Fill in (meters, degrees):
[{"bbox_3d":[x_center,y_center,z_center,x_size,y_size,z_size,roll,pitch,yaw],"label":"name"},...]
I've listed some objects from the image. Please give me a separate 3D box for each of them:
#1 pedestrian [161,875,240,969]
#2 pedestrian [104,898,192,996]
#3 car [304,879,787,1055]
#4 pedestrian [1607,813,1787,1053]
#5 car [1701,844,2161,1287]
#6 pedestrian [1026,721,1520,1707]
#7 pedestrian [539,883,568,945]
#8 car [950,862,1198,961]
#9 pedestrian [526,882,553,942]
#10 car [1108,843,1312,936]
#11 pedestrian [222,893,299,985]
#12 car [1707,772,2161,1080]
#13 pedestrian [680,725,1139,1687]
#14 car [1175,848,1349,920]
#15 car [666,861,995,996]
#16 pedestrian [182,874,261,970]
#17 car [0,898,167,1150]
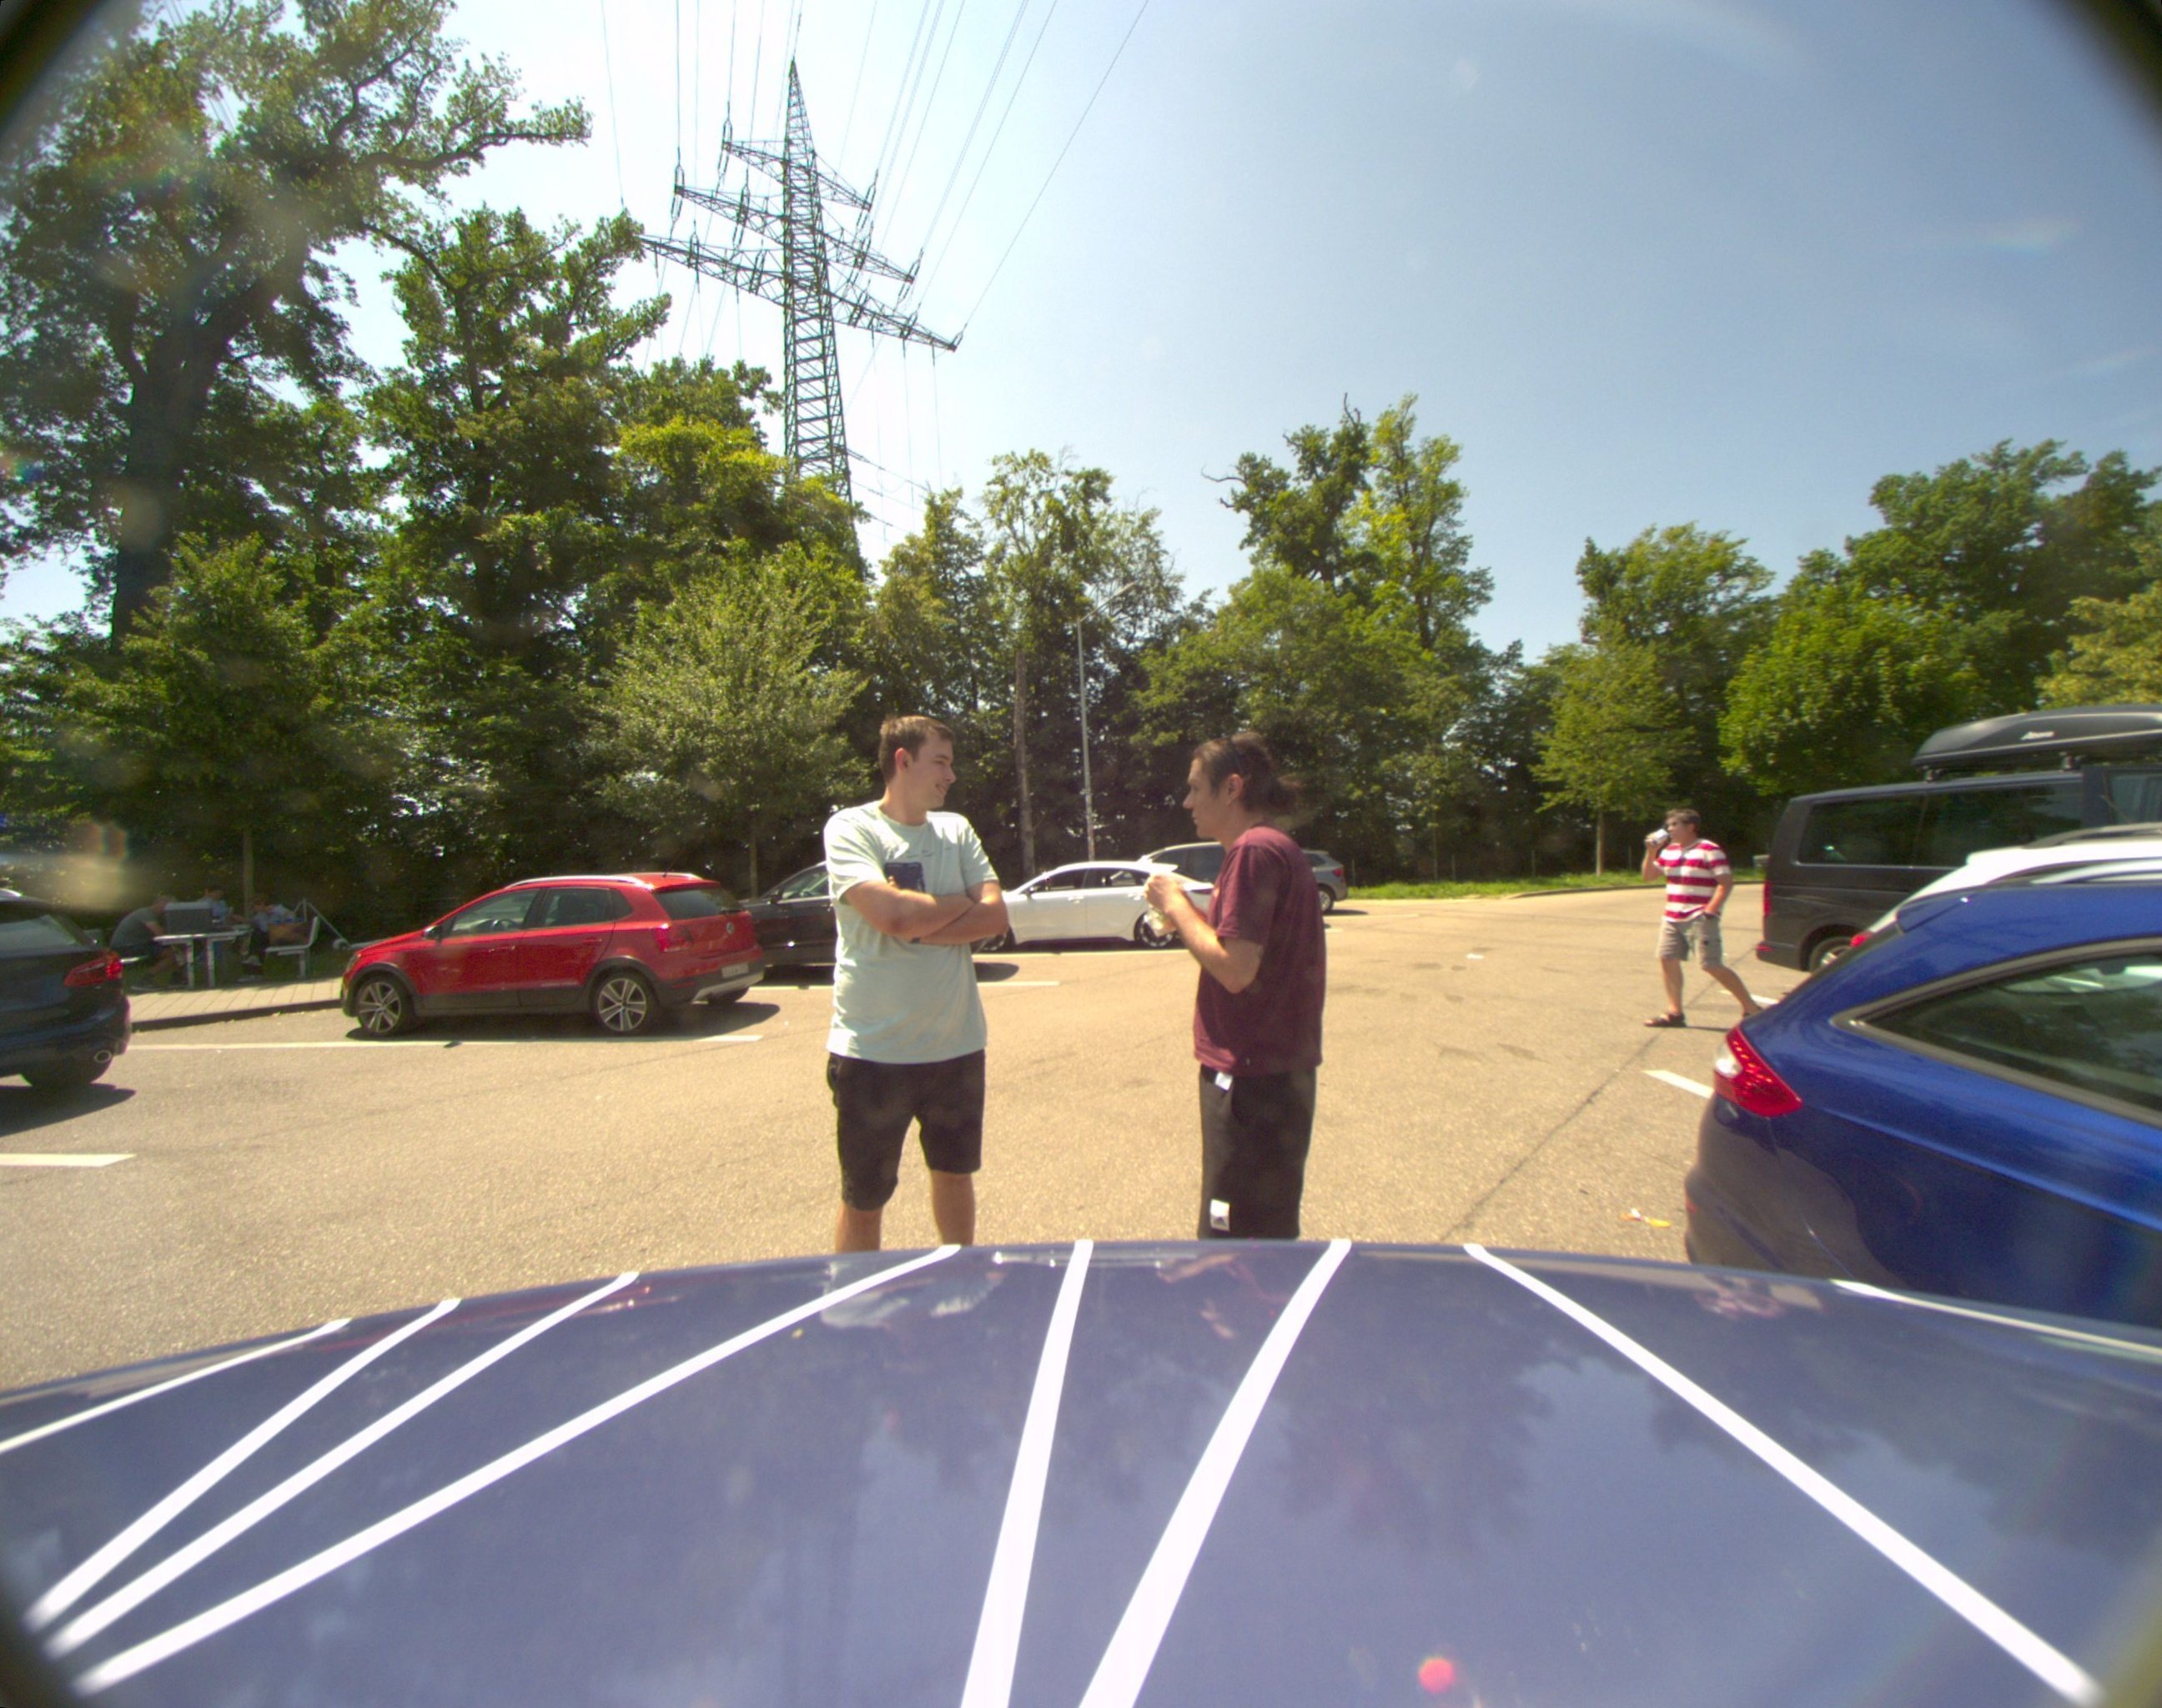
[{"bbox_3d":[-15.801,1.202,13.650,0.572,1.596,0.647,-2,1,-6],"label":"pedestrian"},{"bbox_3d":[-12.724,1.253,10.381,0.595,1.238,0.446,-3,1,-33],"label":"pedestrian"},{"bbox_3d":[-5.227,1.078,7.678,3.823,1.460,1.651,-2,1,8],"label":"car"},{"bbox_3d":[4.758,0.583,5.929,0.784,1.744,0.755,-2,1,7],"label":"pedestrian"},{"bbox_3d":[4.650,0.723,2.260,1.757,1.496,4.574,-3,-1,-1],"label":"car"},{"bbox_3d":[0.472,0.707,1.937,0.919,1.894,0.815,-2,1,16],"label":"pedestrian"},{"bbox_3d":[-10.160,1.148,14.632,0.357,1.158,0.384,-3,2,-41],"label":"pedestrian"},{"bbox_3d":[-0.070,0.922,12.682,3.825,1.394,1.651,-2,1,4],"label":"car"},{"bbox_3d":[-11.004,1.170,15.447,0.357,1.158,0.384,-3,2,-41],"label":"pedestrian"},{"bbox_3d":[2.612,0.700,15.464,3.822,1.686,1.652,-2,1,12],"label":"car"},{"bbox_3d":[-11.857,1.213,10.994,0.595,1.238,0.499,-3,1,-33],"label":"pedestrian"},{"bbox_3d":[7.379,0.409,5.291,1.758,1.886,4.571,-3,-1,-9],"label":"car"},{"bbox_3d":[-0.488,0.710,2.128,0.815,1.939,0.918,-3,2,-44],"label":"pedestrian"},{"bbox_3d":[4.271,0.697,18.159,3.822,1.551,1.652,-2,1,12],"label":"car"},{"bbox_3d":[-3.245,0.950,10.307,3.825,1.546,1.651,-2,1,4],"label":"car"},{"bbox_3d":[-15.160,1.180,13.423,0.572,1.596,0.647,-2,1,-6],"label":"pedestrian"},{"bbox_3d":[-9.028,1.159,5.012,4.338,1.544,1.749,-1,1,8],"label":"car"}]
